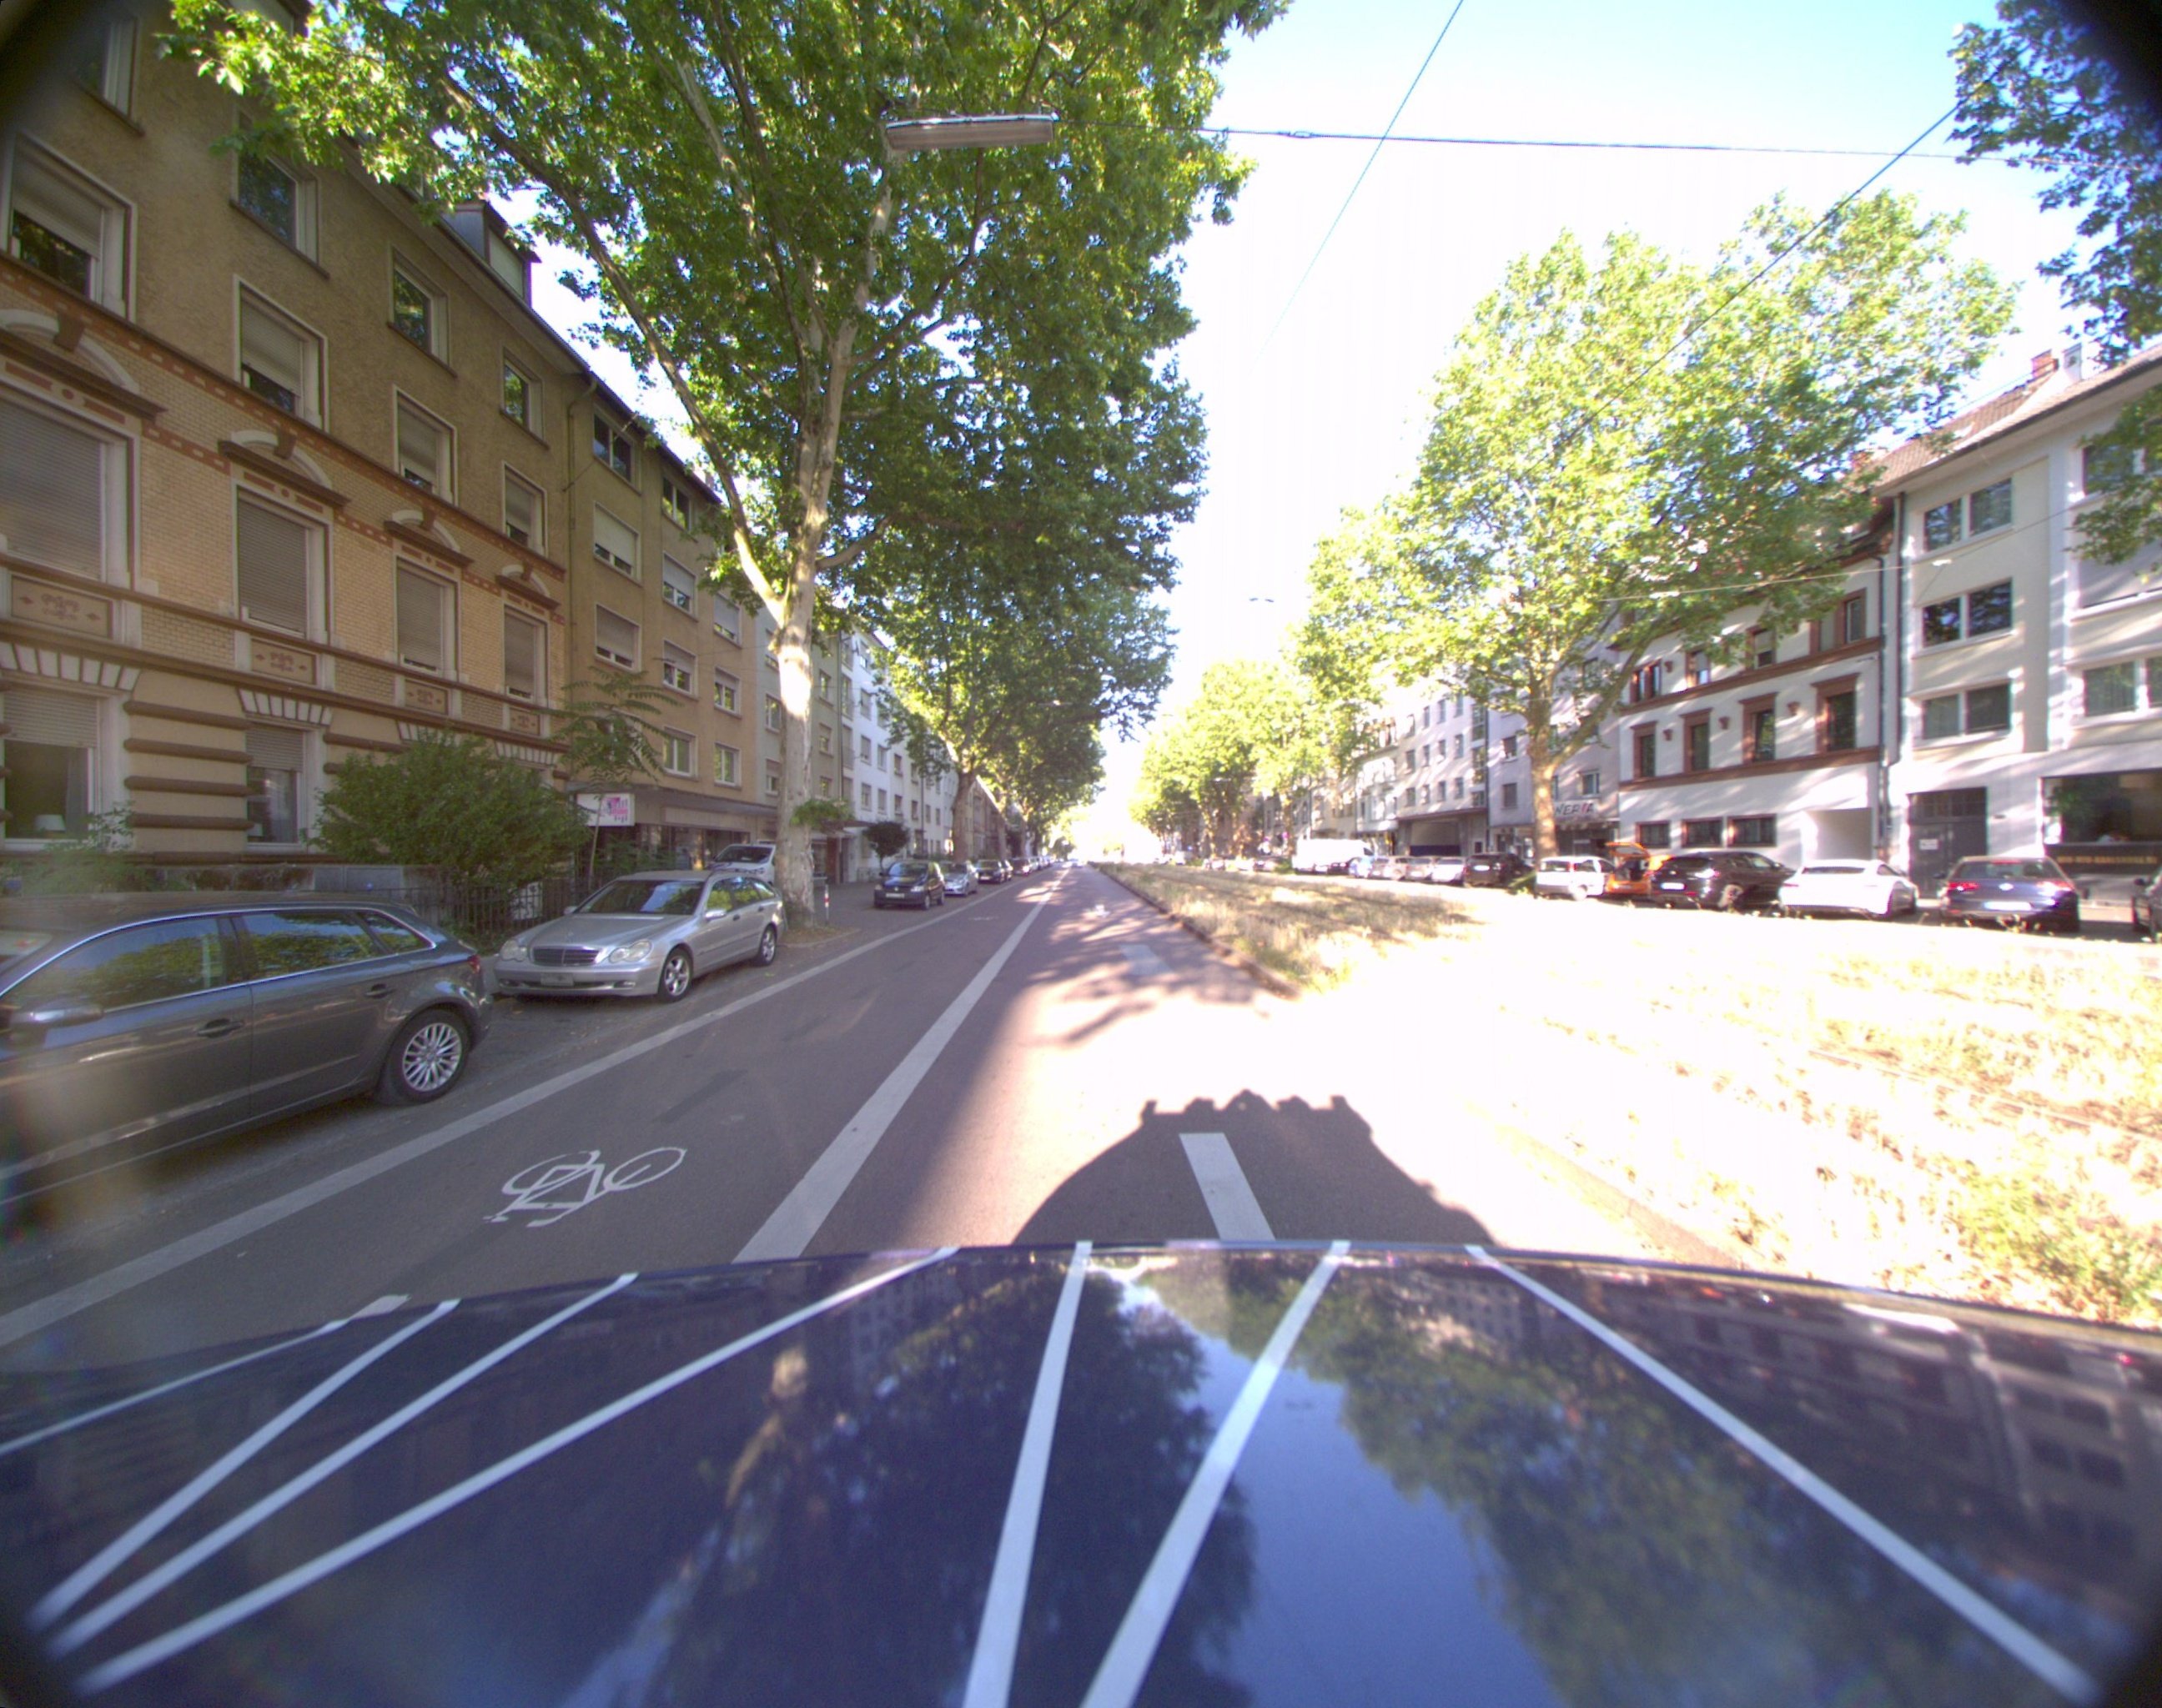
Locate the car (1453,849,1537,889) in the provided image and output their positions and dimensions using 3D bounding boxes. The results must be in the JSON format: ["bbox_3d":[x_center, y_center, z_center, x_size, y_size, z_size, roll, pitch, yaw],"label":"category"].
[{"bbox_3d":[18.688,0.641,34.231,4.008,1.651,1.995,-1,0,-41],"label":"car"}]

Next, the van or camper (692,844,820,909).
[{"bbox_3d":[-10.434,0.645,24.953,1.947,1.911,5.390,0,0,-1],"label":"van or camper"}]

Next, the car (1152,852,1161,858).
[{"bbox_3d":[20.198,0.346,202.875,1.998,1.412,4.000,-2,1,2],"label":"car"}]

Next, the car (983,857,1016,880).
[{"bbox_3d":[-5.400,0.933,50.564,1.713,1.407,4.363,2,0,0],"label":"car"}]

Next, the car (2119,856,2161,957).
[{"bbox_3d":[19.058,0.821,12.683,4.007,1.433,1.717,-3,1,-41],"label":"car"}]

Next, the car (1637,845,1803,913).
[{"bbox_3d":[18.300,0.693,21.750,4.370,1.776,1.989,1,1,-26],"label":"car"}]

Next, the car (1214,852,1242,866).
[{"bbox_3d":[18.836,0.646,97.405,1.726,1.643,4.009,-1,-1,40],"label":"car"}]

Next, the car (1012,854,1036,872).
[{"bbox_3d":[-5.480,0.817,73.260,1.999,1.557,4.663,2,1,0],"label":"car"}]

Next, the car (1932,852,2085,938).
[{"bbox_3d":[19.363,0.779,16.024,4.007,1.433,1.797,-3,1,-43],"label":"car"}]

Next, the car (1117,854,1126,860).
[{"bbox_3d":[10.877,0.899,205.105,1.997,1.477,4.002,-2,1,8],"label":"car"}]

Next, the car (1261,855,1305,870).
[{"bbox_3d":[18.702,0.825,70.259,4.014,1.349,1.797,1,0,-37],"label":"car"}]

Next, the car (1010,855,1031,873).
[{"bbox_3d":[-5.278,0.866,66.484,1.748,1.455,4.024,-1,0,-5],"label":"car"}]

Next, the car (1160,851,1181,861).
[{"bbox_3d":[18.323,0.396,154.806,4.007,2.002,1.995,-3,1,-42],"label":"car"}]

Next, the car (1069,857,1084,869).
[{"bbox_3d":[-0.587,1.245,103.310,1.893,1.501,4.000,-2,1,1],"label":"car"}]

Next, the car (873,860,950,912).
[{"bbox_3d":[-5.425,0.973,24.719,1.658,1.536,3.999,0,0,-1],"label":"car"}]

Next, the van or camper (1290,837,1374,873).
[{"bbox_3d":[18.985,0.054,57.451,5.974,2.631,2.175,-1,0,-20],"label":"van or camper"}]

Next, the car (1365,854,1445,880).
[{"bbox_3d":[19.175,0.746,45.080,4.002,1.483,1.948,0,0,-13],"label":"car"}]

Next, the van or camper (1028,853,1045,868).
[{"bbox_3d":[-5.407,0.773,92.702,1.790,1.710,4.379,1,0,1],"label":"van or camper"}]

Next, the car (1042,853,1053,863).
[{"bbox_3d":[-5.590,0.621,127.087,1.791,1.585,4.013,1,0,-2],"label":"car"}]

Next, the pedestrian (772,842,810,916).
[{"bbox_3d":[-8.109,0.675,21.258,0.684,2.002,1.012,0,1,-3],"label":"pedestrian"}]

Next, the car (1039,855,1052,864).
[{"bbox_3d":[-5.605,0.843,119.798,1.790,1.458,3.569,1,0,0],"label":"car"}]

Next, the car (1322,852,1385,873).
[{"bbox_3d":[19.708,0.617,54.941,4.004,1.482,1.996,0,0,-22],"label":"car"}]

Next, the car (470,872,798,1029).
[{"bbox_3d":[-5.341,1.025,9.925,1.678,1.443,4.570,0,0,-2],"label":"car"}]

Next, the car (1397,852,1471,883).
[{"bbox_3d":[19.067,0.717,40.950,4.006,1.414,1.752,-3,1,-34],"label":"car"}]

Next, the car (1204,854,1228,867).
[{"bbox_3d":[15.047,0.676,85.116,1.825,1.382,4.483,2,0,-1],"label":"car"}]

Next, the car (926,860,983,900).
[{"bbox_3d":[-5.308,1.058,32.474,1.699,1.533,4.776,0,0,-1],"label":"car"}]

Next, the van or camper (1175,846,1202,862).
[{"bbox_3d":[18.368,0.039,129.718,4.371,2.386,2.196,-4,2,-40],"label":"van or camper"}]

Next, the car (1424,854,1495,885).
[{"bbox_3d":[18.899,0.753,37.854,4.008,1.377,1.907,-2,0,-45],"label":"car"}]

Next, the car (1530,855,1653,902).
[{"bbox_3d":[18.041,0.819,26.811,4.369,1.440,1.655,-2,1,-26],"label":"car"}]

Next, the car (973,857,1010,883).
[{"bbox_3d":[-5.314,0.924,45.673,1.713,1.407,4.363,2,0,0],"label":"car"}]

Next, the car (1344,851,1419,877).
[{"bbox_3d":[18.962,0.613,48.035,3.998,1.412,1.857,-3,1,-4],"label":"car"}]

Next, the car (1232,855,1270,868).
[{"bbox_3d":[18.214,0.794,81.430,3.687,1.382,1.822,-1,0,-31],"label":"car"}]

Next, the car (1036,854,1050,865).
[{"bbox_3d":[-5.480,0.795,109.725,1.790,1.609,3.829,1,0,0],"label":"car"}]

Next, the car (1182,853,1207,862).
[{"bbox_3d":[18.982,0.602,127.195,4.006,1.240,1.726,-4,1,-34],"label":"car"}]

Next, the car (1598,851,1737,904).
[{"bbox_3d":[19.501,0.741,25.261,4.003,1.471,1.774,-3,1,-20],"label":"car"}]

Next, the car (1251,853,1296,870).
[{"bbox_3d":[18.649,0.729,73.546,4.169,1.583,1.932,2,-1,-36],"label":"car"}]

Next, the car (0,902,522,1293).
[{"bbox_3d":[-5.181,1.067,3.658,1.714,1.388,4.321,0,0,1],"label":"car"}]

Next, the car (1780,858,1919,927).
[{"bbox_3d":[18.653,0.863,18.401,4.212,1.325,1.718,-3,1,-36],"label":"car"}]

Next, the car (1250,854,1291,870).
[{"bbox_3d":[19.223,0.815,76.926,4.008,1.524,1.821,1,-1,-36],"label":"car"}]

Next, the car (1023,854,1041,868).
[{"bbox_3d":[-5.542,0.801,86.403,1.702,1.517,4.194,0,0,0],"label":"car"}]
